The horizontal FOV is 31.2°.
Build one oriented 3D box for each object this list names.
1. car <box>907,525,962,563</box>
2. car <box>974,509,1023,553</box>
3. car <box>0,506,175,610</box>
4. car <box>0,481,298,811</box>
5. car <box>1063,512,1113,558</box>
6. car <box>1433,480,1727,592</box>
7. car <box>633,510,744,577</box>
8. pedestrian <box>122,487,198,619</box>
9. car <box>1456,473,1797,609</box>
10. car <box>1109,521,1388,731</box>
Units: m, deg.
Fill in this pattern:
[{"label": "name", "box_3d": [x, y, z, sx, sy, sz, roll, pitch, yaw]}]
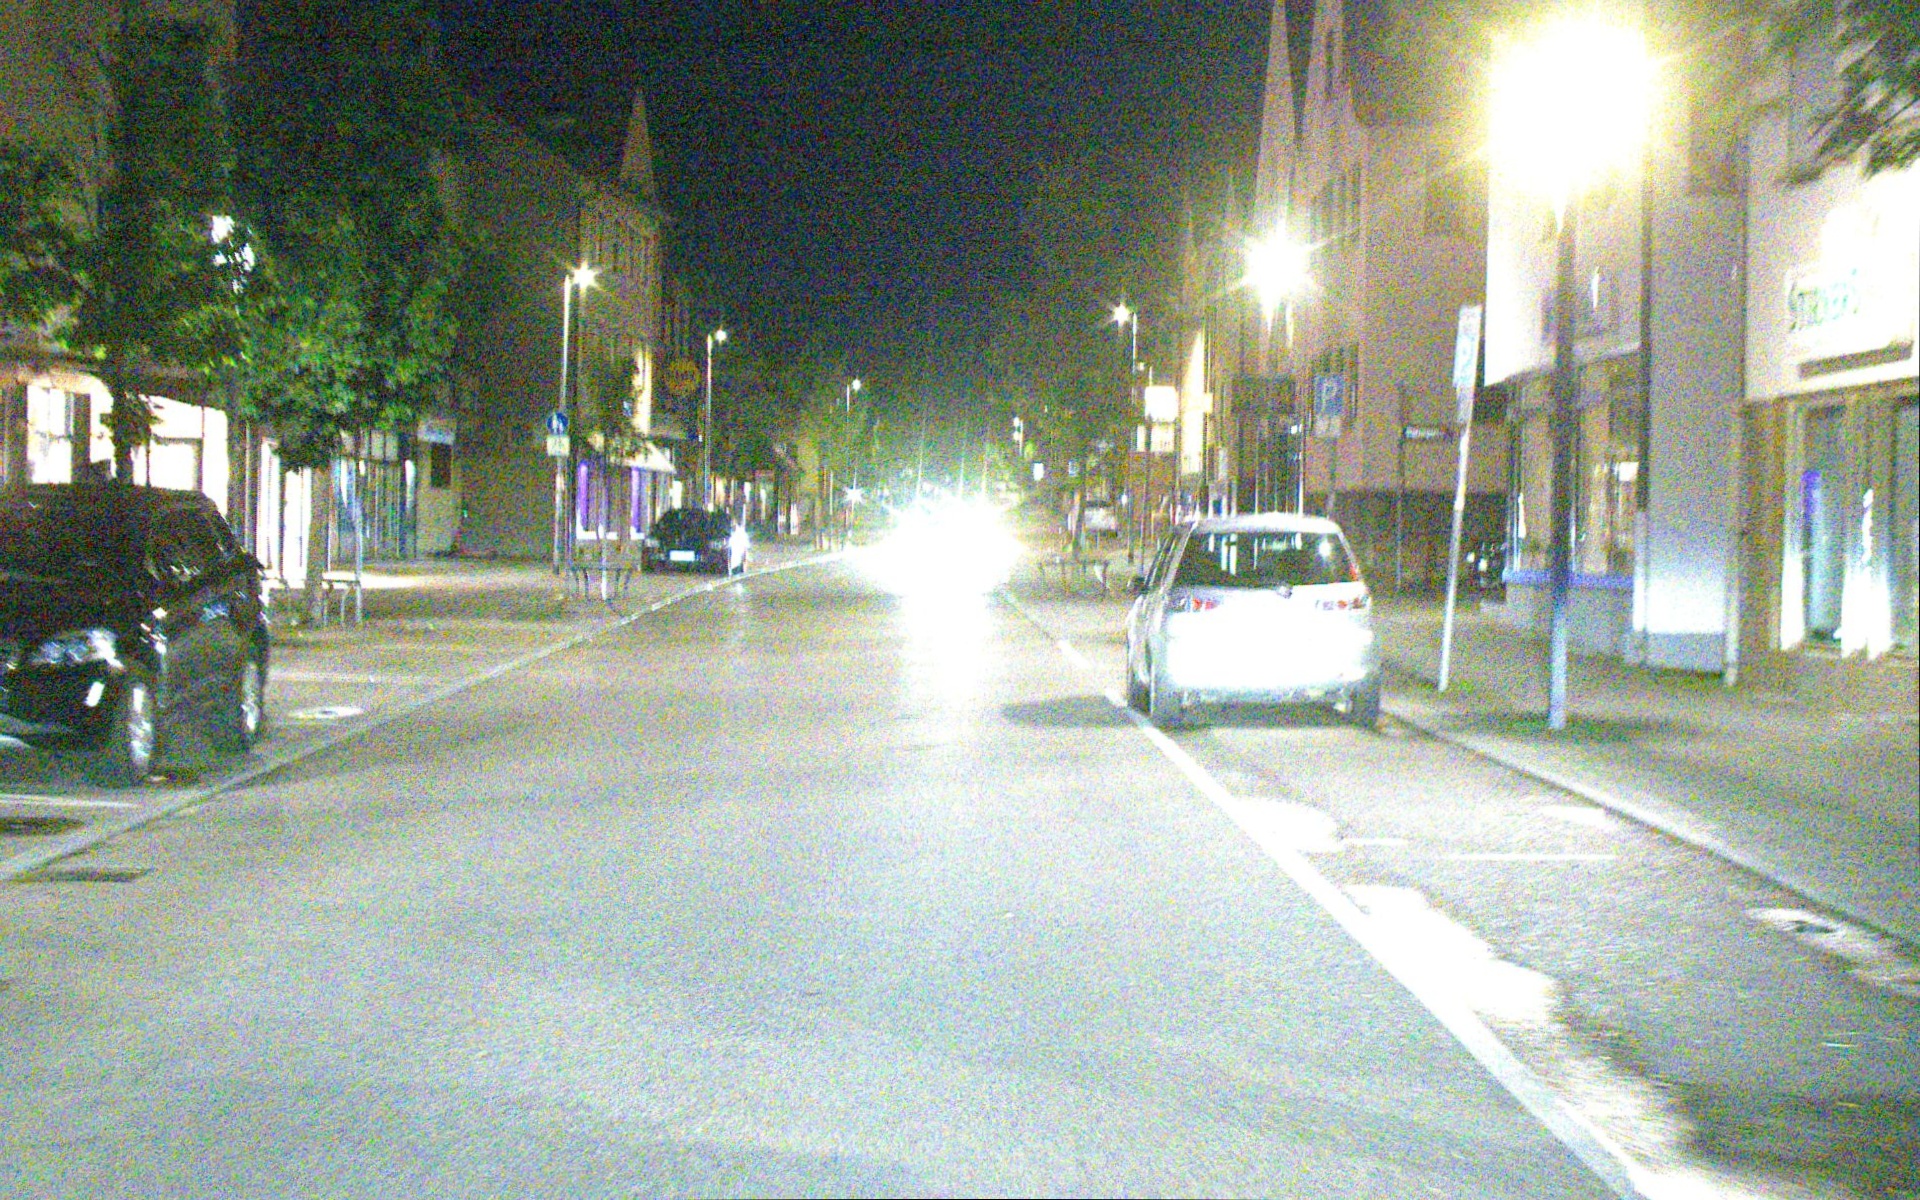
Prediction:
[{"label": "car", "box_3d": [-0.834, -1.879, 114.872, 1.723, 1.242, 4.237, 1, 1, 1]}, {"label": "car", "box_3d": [1.494, -2.649, 131.904, 1.775, 1.647, 4.364, 1, 2, 2]}, {"label": "car", "box_3d": [-13.866, -0.581, 50.487, 4.167, 1.433, 1.841, -2, 1, 4]}, {"label": "car", "box_3d": [-5.439, 0.163, 20.285, 2.018, 1.685, 5.003, 2, 1, 0]}, {"label": "car", "box_3d": [4.735, -2.423, 127.745, 1.775, 1.647, 4.364, 1, 2, 1]}, {"label": "car", "box_3d": [9.271, -0.953, 51.589, 3.986, 1.471, 1.752, -3, 1, -2]}, {"label": "car", "box_3d": [-5.827, -1.246, 74.213, 1.914, 1.366, 4.457, 1, 2, 2]}, {"label": "pedestrian", "box_3d": [-10.186, -0.604, 43.780, 0.769, 1.650, 0.782, 1, 3, 1]}, {"label": "car", "box_3d": [8.845, -0.803, 45.813, 4.076, 1.576, 1.817, -3, 2, -3]}, {"label": "car", "box_3d": [2.102, 0.150, 25.942, 1.674, 1.455, 3.676, 1, 1, -2]}]
